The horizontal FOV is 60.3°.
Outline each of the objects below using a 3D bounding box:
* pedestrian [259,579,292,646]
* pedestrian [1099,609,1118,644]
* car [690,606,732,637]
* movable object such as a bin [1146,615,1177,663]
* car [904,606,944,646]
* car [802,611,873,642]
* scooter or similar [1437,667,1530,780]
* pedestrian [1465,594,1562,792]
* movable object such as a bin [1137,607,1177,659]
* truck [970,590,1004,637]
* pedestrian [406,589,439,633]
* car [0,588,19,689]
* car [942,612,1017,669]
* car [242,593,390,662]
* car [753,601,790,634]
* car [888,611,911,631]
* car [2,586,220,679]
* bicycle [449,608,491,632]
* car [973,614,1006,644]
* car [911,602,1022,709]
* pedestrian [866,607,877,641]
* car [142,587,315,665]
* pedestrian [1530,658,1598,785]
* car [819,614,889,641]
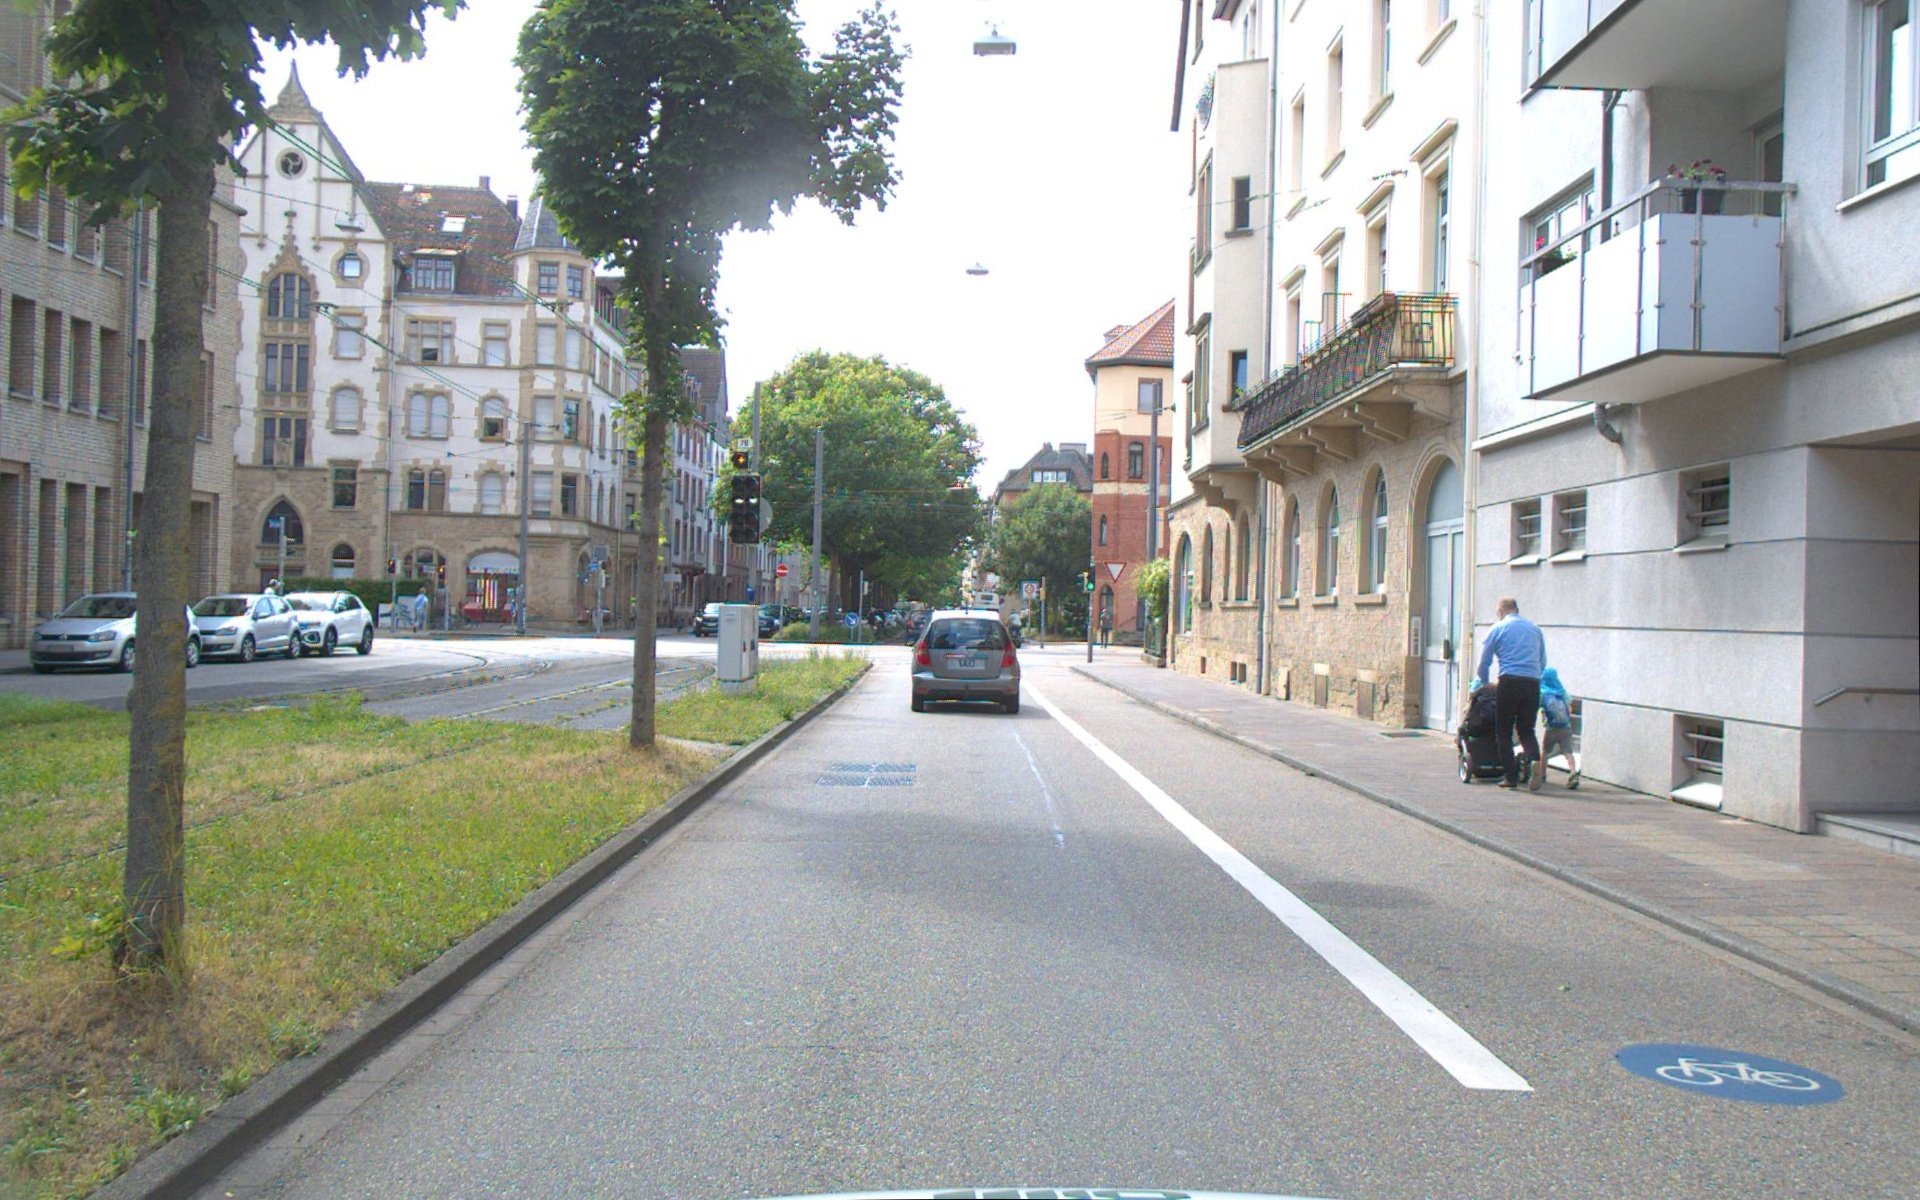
[{"bbox_3d":[-19.064,0.350,46.050,0.750,1.827,0.952,2,-1,-25],"label":"pedestrian"},{"bbox_3d":[7.222,1.281,80.445,0.850,1.686,0.736,1,-1,4],"label":"pedestrian"},{"bbox_3d":[-13.400,1.161,89.214,1.955,1.646,3.995,1,-1,-6],"label":"car"},{"bbox_3d":[6.400,1.226,52.557,0.701,1.498,0.980,1,-1,-9],"label":"movable object such as a bin"},{"bbox_3d":[-1.619,1.181,75.449,1.687,1.736,3.677,1,-1,0],"label":"car"},{"bbox_3d":[-6.644,1.423,89.406,1.955,1.521,3.943,2,-1,-39],"label":"car"},{"bbox_3d":[5.101,1.191,16.161,0.580,1.019,0.905,-3,-1,0],"label":"scooter or similar"},{"bbox_3d":[5.093,0.833,15.250,0.608,1.769,0.877,0,-1,0],"label":"pedestrian"},{"bbox_3d":[6.078,1.019,51.091,1.028,1.566,2.100,1,-1,2],"label":"movable object such as a bin"},{"bbox_3d":[1.845,0.916,110.284,2.078,3.022,4.001,1,-1,3],"label":"truck"},{"bbox_3d":[-21.577,0.447,66.391,1.016,1.752,0.763,2,-1,-45],"label":"pedestrian"},{"bbox_3d":[-15.552,0.564,24.133,1.550,1.557,3.549,1,0,1],"label":"car"},{"bbox_3d":[0.527,1.092,45.827,1.939,1.467,4.000,1,0,0],"label":"car"},{"bbox_3d":[-15.711,0.655,40.605,1.893,1.562,4.258,1,0,1],"label":"car"},{"bbox_3d":[-10.309,0.980,90.727,1.955,1.758,3.995,1,-1,-6],"label":"car"},{"bbox_3d":[-4.935,1.718,134.592,1.716,1.543,3.499,1,-1,0],"label":"car"},{"bbox_3d":[-15.645,0.581,30.750,1.813,1.557,4.210,1,0,1],"label":"car"},{"bbox_3d":[-23.532,0.967,79.453,1.881,1.100,0.776,1,-1,-11],"label":"bicycle"},{"bbox_3d":[1.747,1.690,97.348,1.715,1.661,3.501,1,-1,3],"label":"car"},{"bbox_3d":[0.115,0.879,27.311,1.687,1.634,3.677,1,-1,0],"label":"car"},{"bbox_3d":[-4.682,1.246,87.143,0.483,1.755,0.653,1,-1,-7],"label":"pedestrian"},{"bbox_3d":[-15.822,0.547,35.997,1.893,1.557,4.014,1,0,1],"label":"car"},{"bbox_3d":[5.707,1.139,15.632,0.447,1.155,0.494,1,-1,0],"label":"pedestrian"},{"bbox_3d":[-5.902,1.538,92.027,1.955,1.362,3.943,2,-1,-39],"label":"car"}]
